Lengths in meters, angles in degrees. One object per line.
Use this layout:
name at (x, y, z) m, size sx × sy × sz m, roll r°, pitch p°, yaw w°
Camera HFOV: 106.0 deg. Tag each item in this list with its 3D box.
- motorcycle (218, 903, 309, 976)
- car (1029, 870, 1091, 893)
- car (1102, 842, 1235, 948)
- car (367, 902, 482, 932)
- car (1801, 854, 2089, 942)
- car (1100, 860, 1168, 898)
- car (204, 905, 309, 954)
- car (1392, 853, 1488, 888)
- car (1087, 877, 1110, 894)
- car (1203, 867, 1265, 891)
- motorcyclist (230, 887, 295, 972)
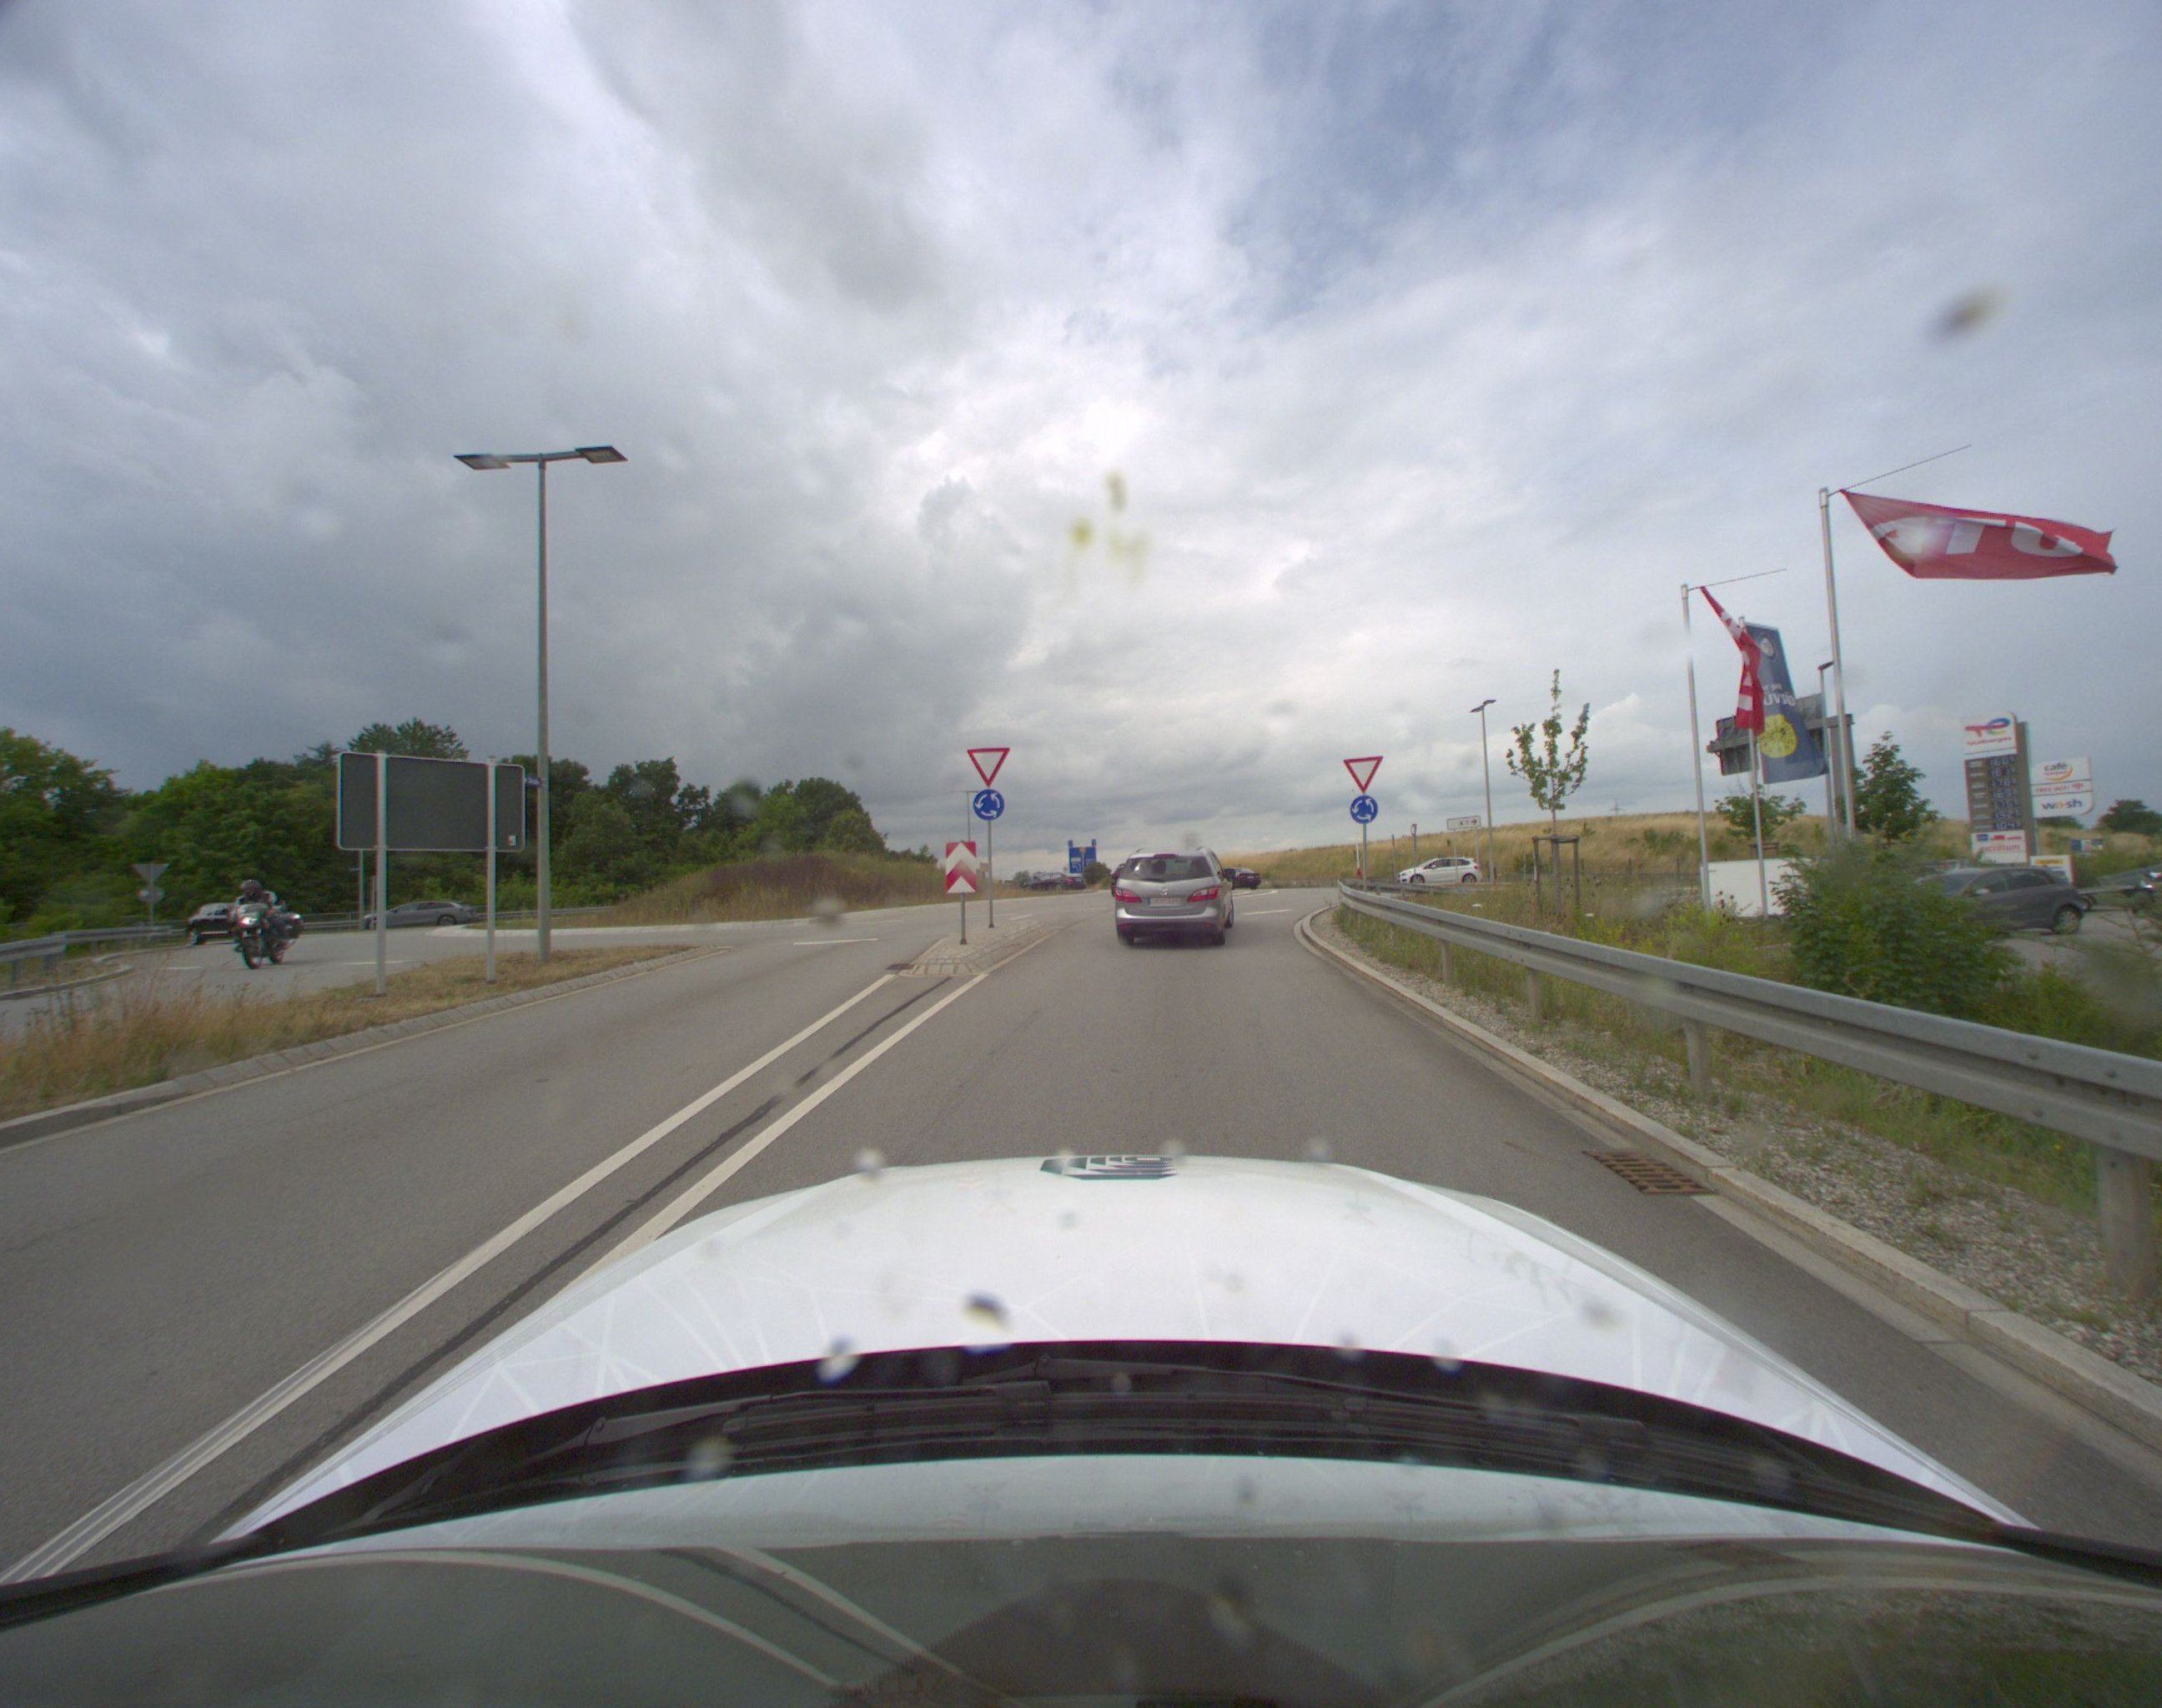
motorcycle at (-16.191, 1.641, 16.190) m, size 0.706 × 1.229 × 2.227 m, roll -2°, pitch 0°, yaw -31°
car at (-1.387, 1.769, 51.834) m, size 1.675 × 1.339 × 3.950 m, roll -2°, pitch -2°, yaw -44°
car at (1.698, 0.629, 14.416) m, size 1.898 × 1.574 × 4.013 m, roll -2°, pitch 0°, yaw 12°
car at (-34.986, 3.339, 43.540) m, size 4.489 × 1.175 × 1.618 m, roll -3°, pitch -1°, yaw -28°
car at (19.492, 0.956, 18.487) m, size 4.815 × 1.675 × 1.961 m, roll -2°, pitch -2°, yaw -7°
car at (2.330, 1.035, 35.002) m, size 1.647 × 1.378 × 4.022 m, roll -4°, pitch -1°, yaw 22°
car at (-34.822, 3.198, 34.376) m, size 4.985 × 1.791 × 2.119 m, roll -5°, pitch -4°, yaw 33°
car at (19.422, 0.893, 44.226) m, size 4.385 × 1.629 × 1.790 m, roll -3°, pitch -1°, yaw 11°
car at (1.751, 3.194, 81.984) m, size 1.597 × 1.549 × 4.034 m, roll -3°, pitch -1°, yaw -8°
car at (9.022, 1.506, 48.232) m, size 1.605 × 1.288 × 4.014 m, roll -3°, pitch -1°, yaw -23°
motorcyclist at (-16.187, 1.469, 16.128) m, size 0.677 × 1.576 × 0.838 m, roll -2°, pitch -1°, yaw -30°
